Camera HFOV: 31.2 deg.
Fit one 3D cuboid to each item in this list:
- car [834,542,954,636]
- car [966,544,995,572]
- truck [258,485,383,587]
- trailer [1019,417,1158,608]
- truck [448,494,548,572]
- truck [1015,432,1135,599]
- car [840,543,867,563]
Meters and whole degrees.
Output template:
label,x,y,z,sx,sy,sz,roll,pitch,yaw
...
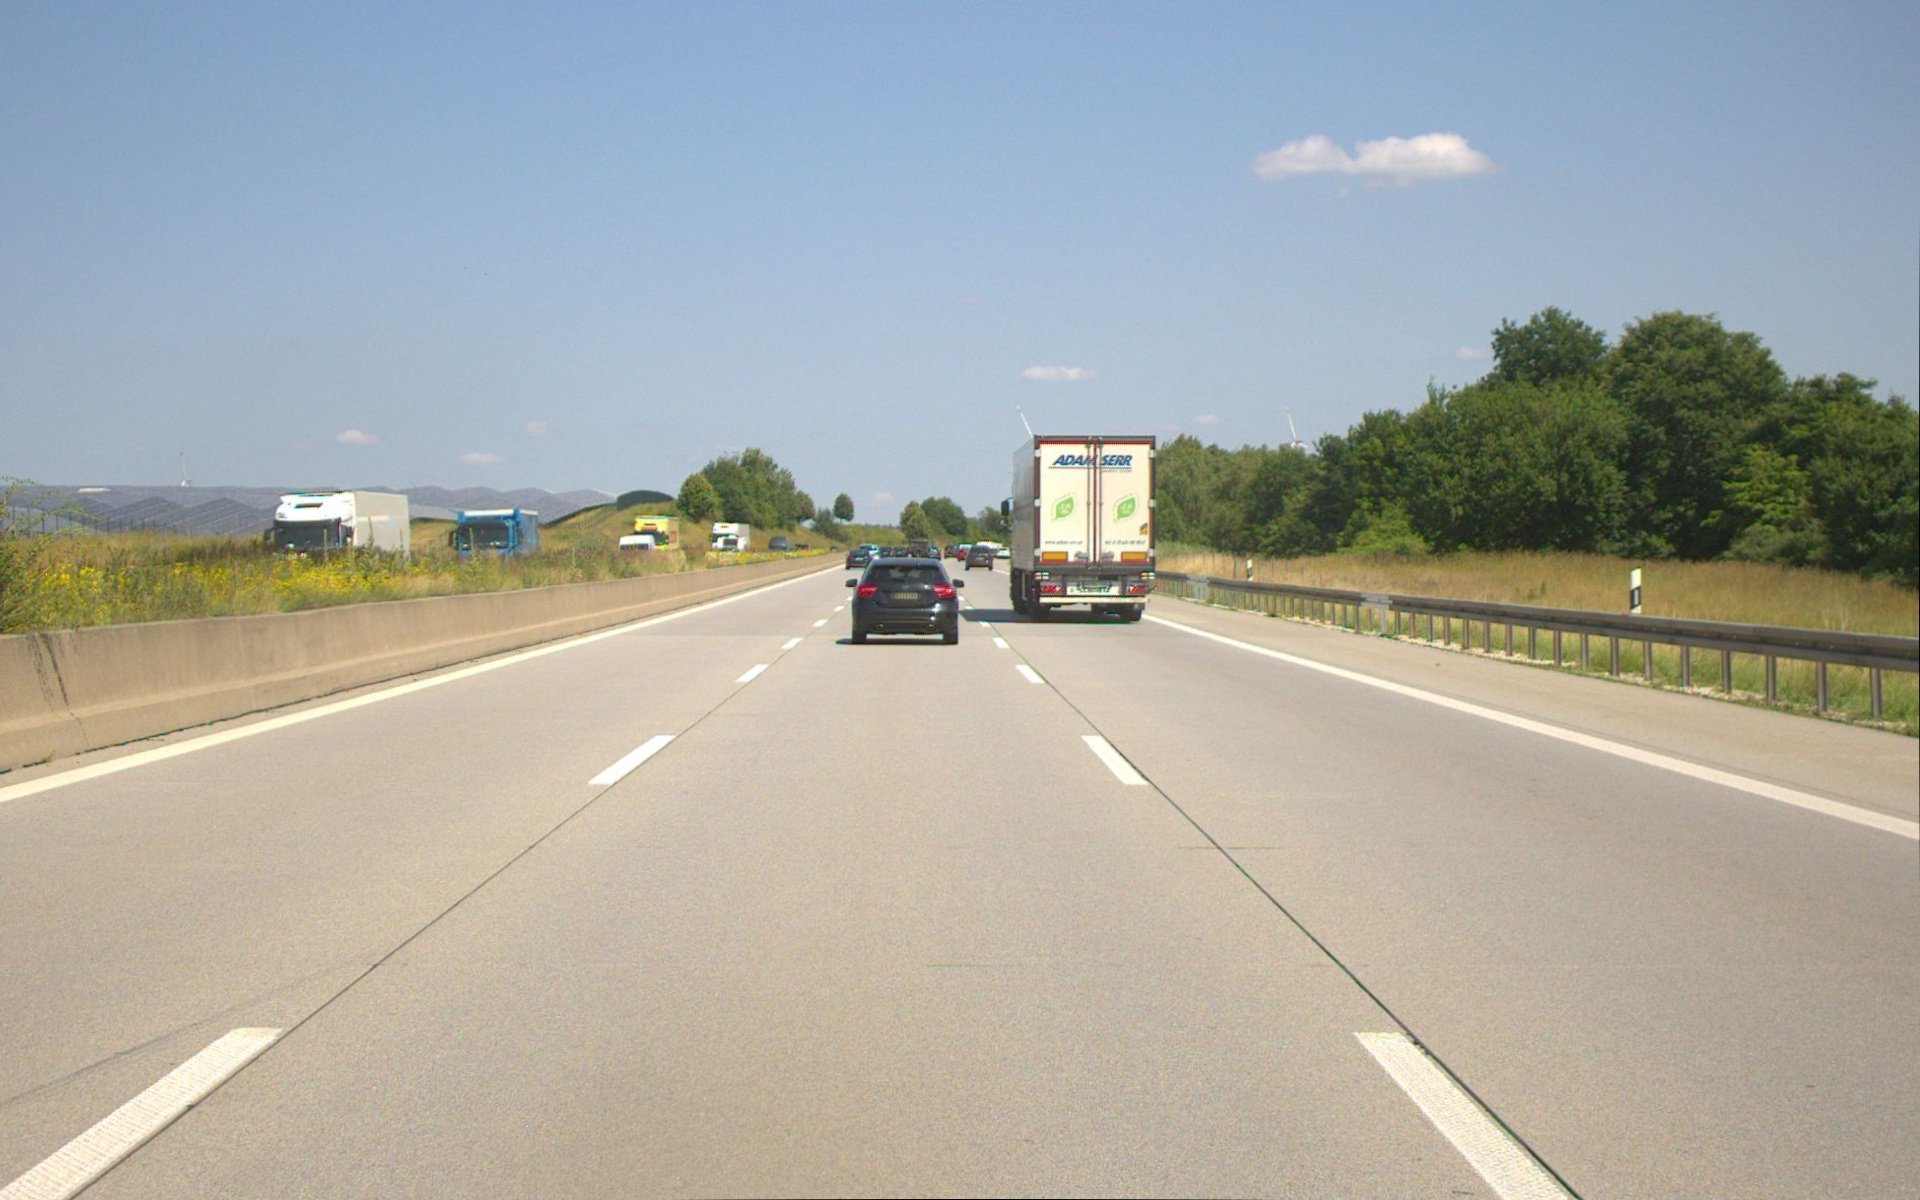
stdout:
label,x,y,z,sx,sy,sz,roll,pitch,yaw
car,-1.114,-0.218,57.976,1.910,1.487,4.192,1,1,-1
car,1.395,-2.856,232.603,1.827,1.900,4.000,0,1,-1
truck,-22.450,-2.216,121.018,3.122,3.475,6.885,1,0,0
trailer,2.834,-1.952,79.335,2.852,4.029,12.713,1,1,1
truck,-18.985,-2.698,141.828,2.824,3.053,10.376,1,0,-1
truck,2.863,-2.111,87.151,2.812,4.074,5.798,1,1,0
car,-7.132,-3.160,230.706,1.655,1.192,3.960,3,1,-1
